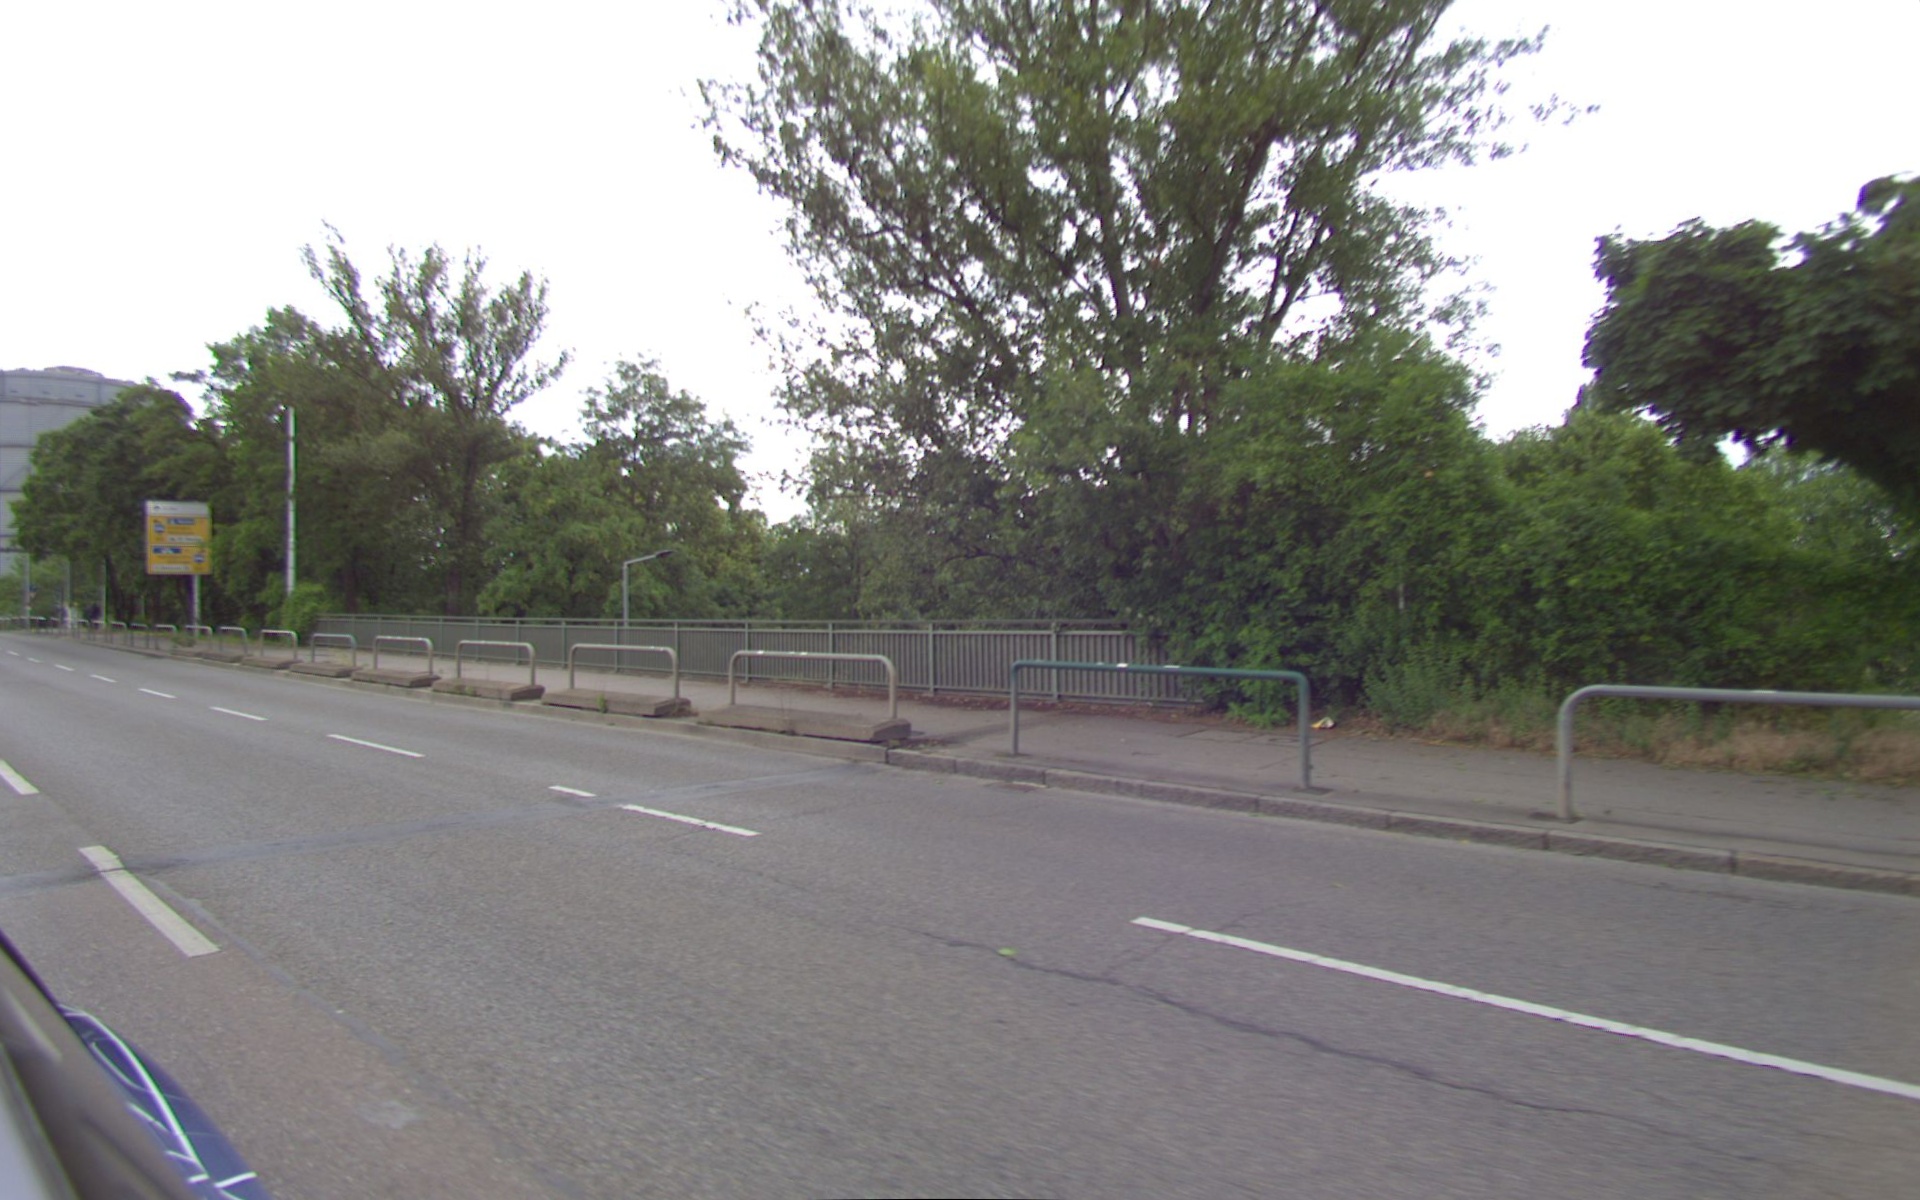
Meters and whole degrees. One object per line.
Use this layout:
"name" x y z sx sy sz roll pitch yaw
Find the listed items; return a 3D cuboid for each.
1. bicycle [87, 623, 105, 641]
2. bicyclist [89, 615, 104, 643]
"bicycle" -48.790 1.787 57.143 2.000 1.009 0.479 0 -1 41
"bicyclist" -48.769 1.627 57.156 0.983 1.528 0.509 -1 -1 41
